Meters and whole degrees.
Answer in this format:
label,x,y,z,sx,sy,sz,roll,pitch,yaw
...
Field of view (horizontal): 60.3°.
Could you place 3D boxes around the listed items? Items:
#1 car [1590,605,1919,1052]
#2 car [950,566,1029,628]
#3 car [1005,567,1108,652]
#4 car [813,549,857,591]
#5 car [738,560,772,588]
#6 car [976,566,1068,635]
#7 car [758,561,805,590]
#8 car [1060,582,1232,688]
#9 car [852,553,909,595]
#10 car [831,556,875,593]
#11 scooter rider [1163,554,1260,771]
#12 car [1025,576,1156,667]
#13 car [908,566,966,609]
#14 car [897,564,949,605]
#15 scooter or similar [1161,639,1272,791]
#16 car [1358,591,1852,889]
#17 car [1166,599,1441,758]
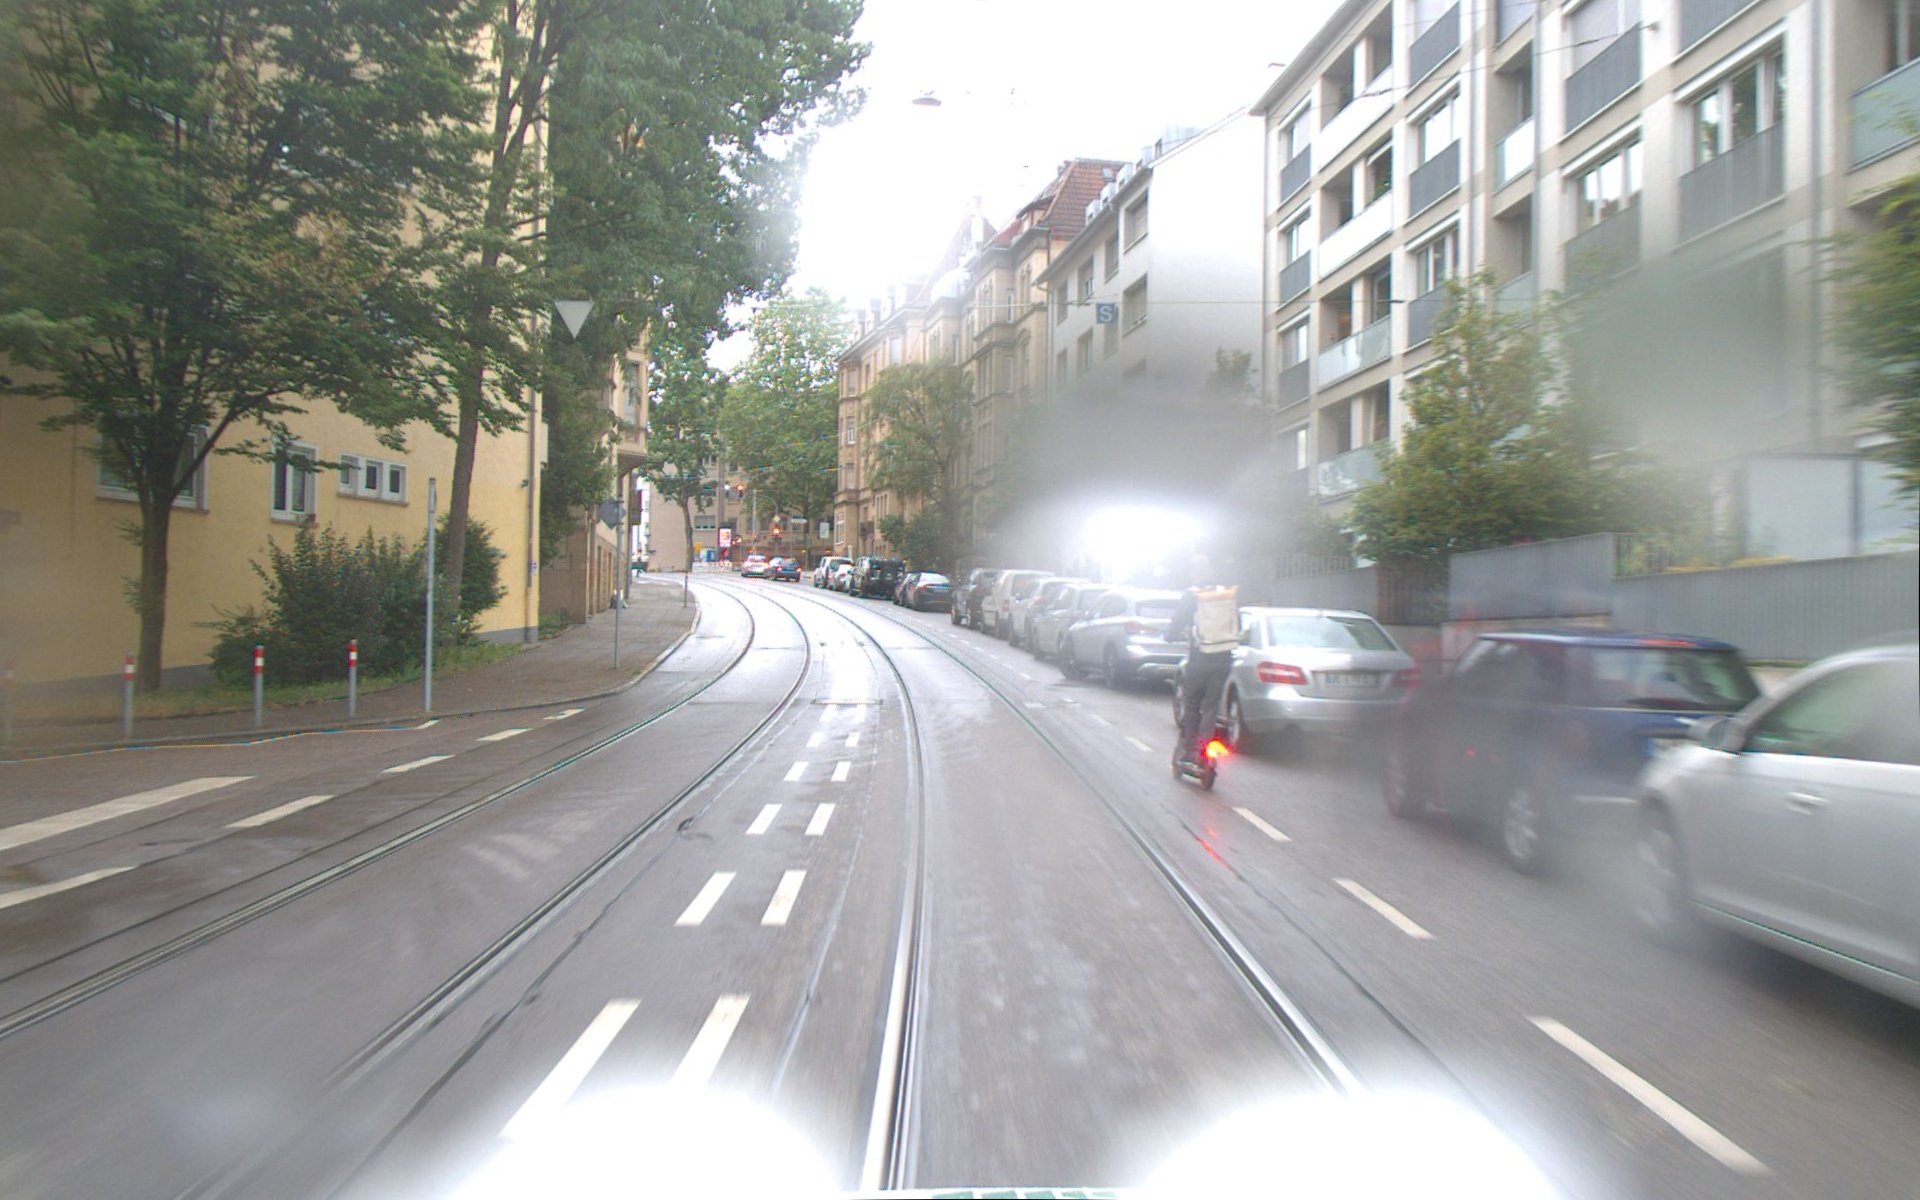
label,x,y,z,sx,sy,sz,roll,pitch,yaw
car,4.080,0.809,6.222,1.627,1.497,4.507,2,0,-1
car,0.847,-0.128,50.088,1.733,1.713,4.241,2,1,-8
car,2.229,0.173,39.276,1.732,1.818,4.243,2,1,-6
car,-7.141,-1.737,94.098,1.992,2.256,4.129,2,1,-11
car,-14.110,-1.812,113.647,1.825,1.764,4.124,2,1,-14
car,1.648,-0.030,45.448,1.734,1.713,4.240,2,1,-9
car,-11.642,-1.614,107.871,1.999,1.764,4.113,2,1,-22
car,3.028,0.518,27.812,1.734,1.643,4.238,0,1,-10
car,-3.799,-1.246,77.944,1.992,1.856,4.356,2,1,-12
car,-5.791,-1.398,89.098,1.990,1.856,4.131,2,1,-9
scooter rider,2.068,0.493,13.686,0.610,1.735,0.843,1,1,-3
car,2.576,0.386,33.716,1.733,1.643,4.241,2,1,-8
car,-0.921,-0.503,63.805,1.733,1.544,4.133,2,1,-8
car,-1.567,-0.661,68.862,1.619,1.562,3.881,-2,2,-9
scooter or similar,2.101,0.911,13.758,0.503,1.068,2.008,1,1,-3
car,4.023,0.771,11.005,1.667,1.538,3.713,2,1,-2
car,3.562,0.743,18.047,1.727,1.460,4.635,0,1,-4
